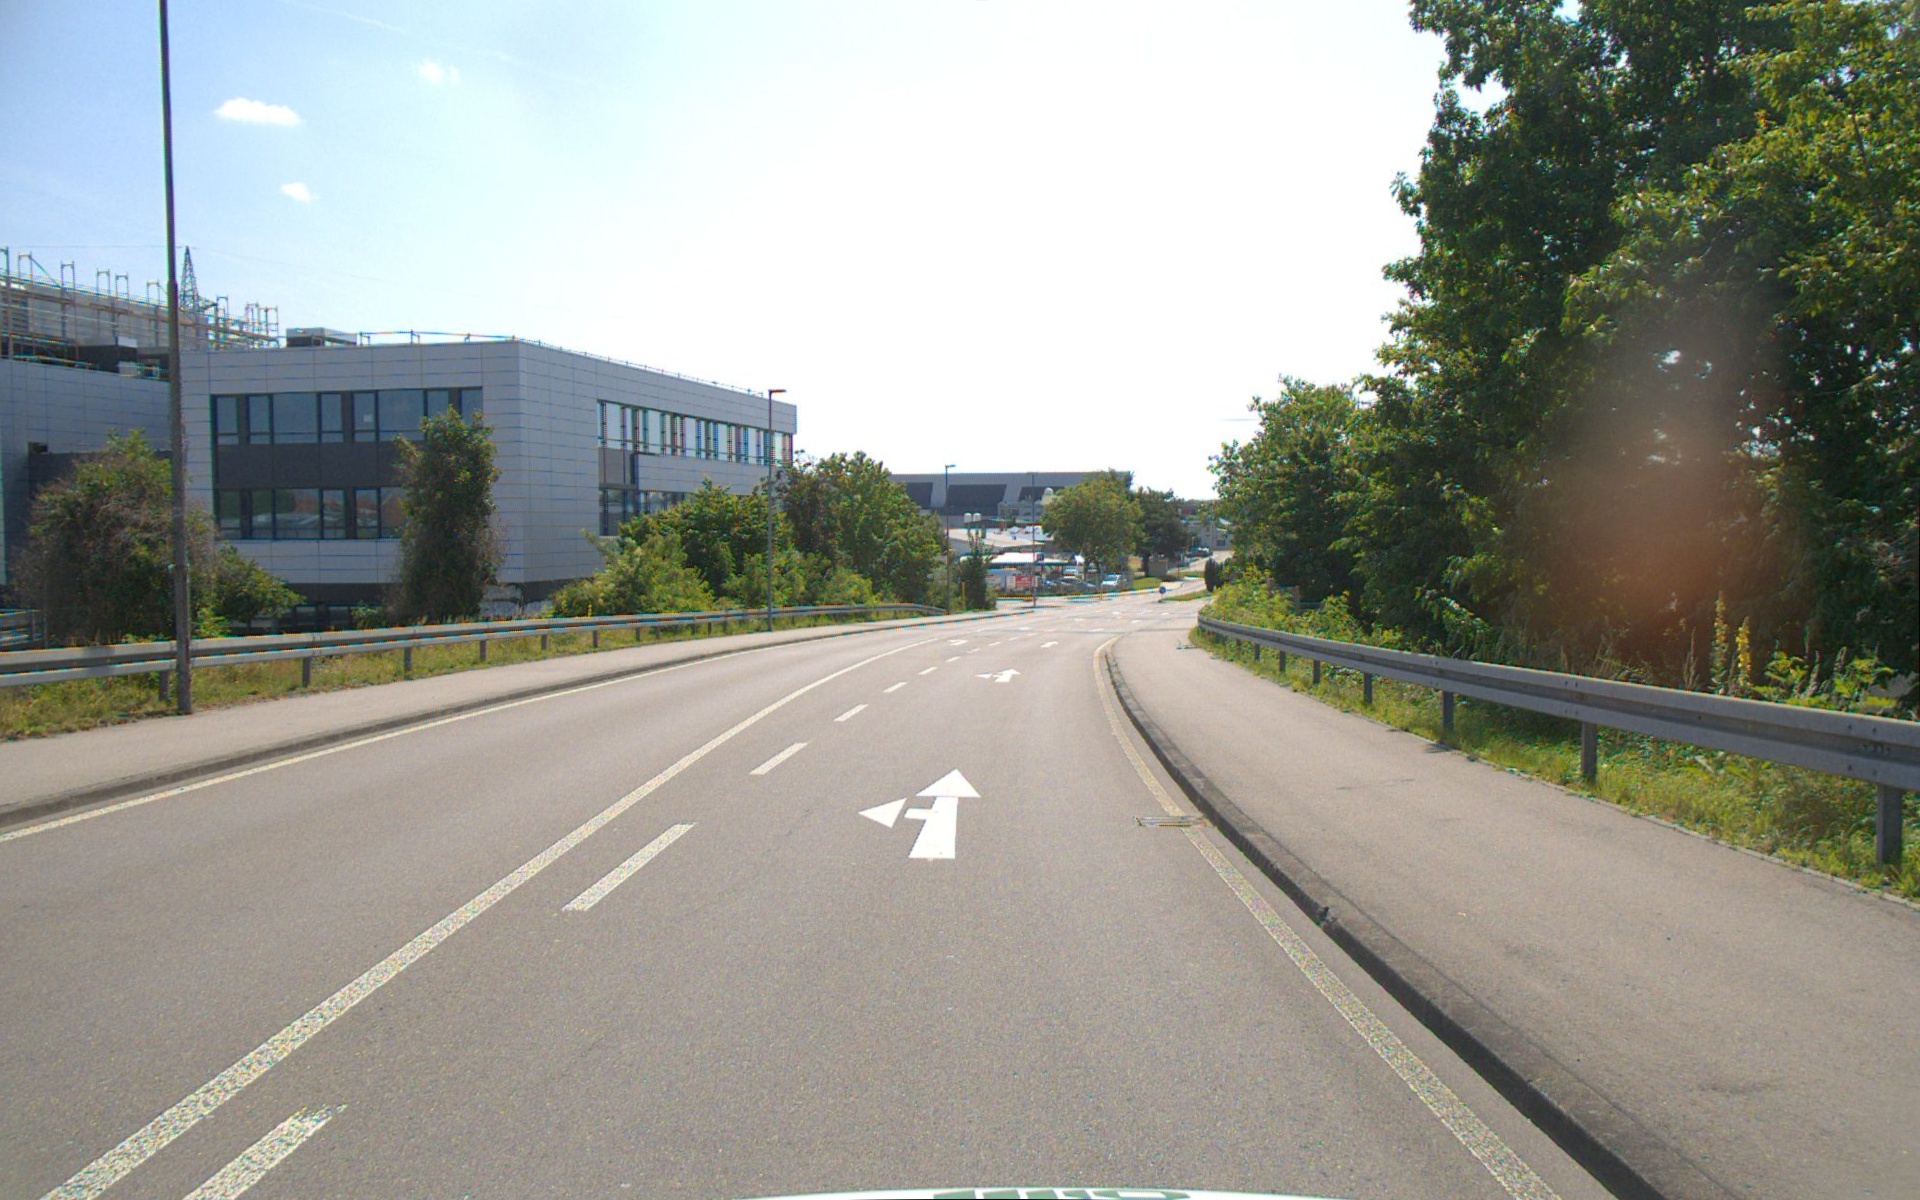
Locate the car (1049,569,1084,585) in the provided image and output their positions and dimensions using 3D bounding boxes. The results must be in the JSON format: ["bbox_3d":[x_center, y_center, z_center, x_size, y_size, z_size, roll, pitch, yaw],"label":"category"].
[{"bbox_3d":[12.177,-2.637,189.403,3.904,1.882,1.835,0,1,1],"label":"car"}]

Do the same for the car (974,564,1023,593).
[{"bbox_3d":[3.511,-2.013,152.165,4.285,2.654,1.989,1,1,41],"label":"car"}]

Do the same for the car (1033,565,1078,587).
[{"bbox_3d":[9.079,-2.278,157.872,3.925,1.936,1.991,3,4,39],"label":"car"}]

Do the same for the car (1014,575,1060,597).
[{"bbox_3d":[7.130,-1.305,154.167,3.927,1.811,1.990,3,4,40],"label":"car"}]
